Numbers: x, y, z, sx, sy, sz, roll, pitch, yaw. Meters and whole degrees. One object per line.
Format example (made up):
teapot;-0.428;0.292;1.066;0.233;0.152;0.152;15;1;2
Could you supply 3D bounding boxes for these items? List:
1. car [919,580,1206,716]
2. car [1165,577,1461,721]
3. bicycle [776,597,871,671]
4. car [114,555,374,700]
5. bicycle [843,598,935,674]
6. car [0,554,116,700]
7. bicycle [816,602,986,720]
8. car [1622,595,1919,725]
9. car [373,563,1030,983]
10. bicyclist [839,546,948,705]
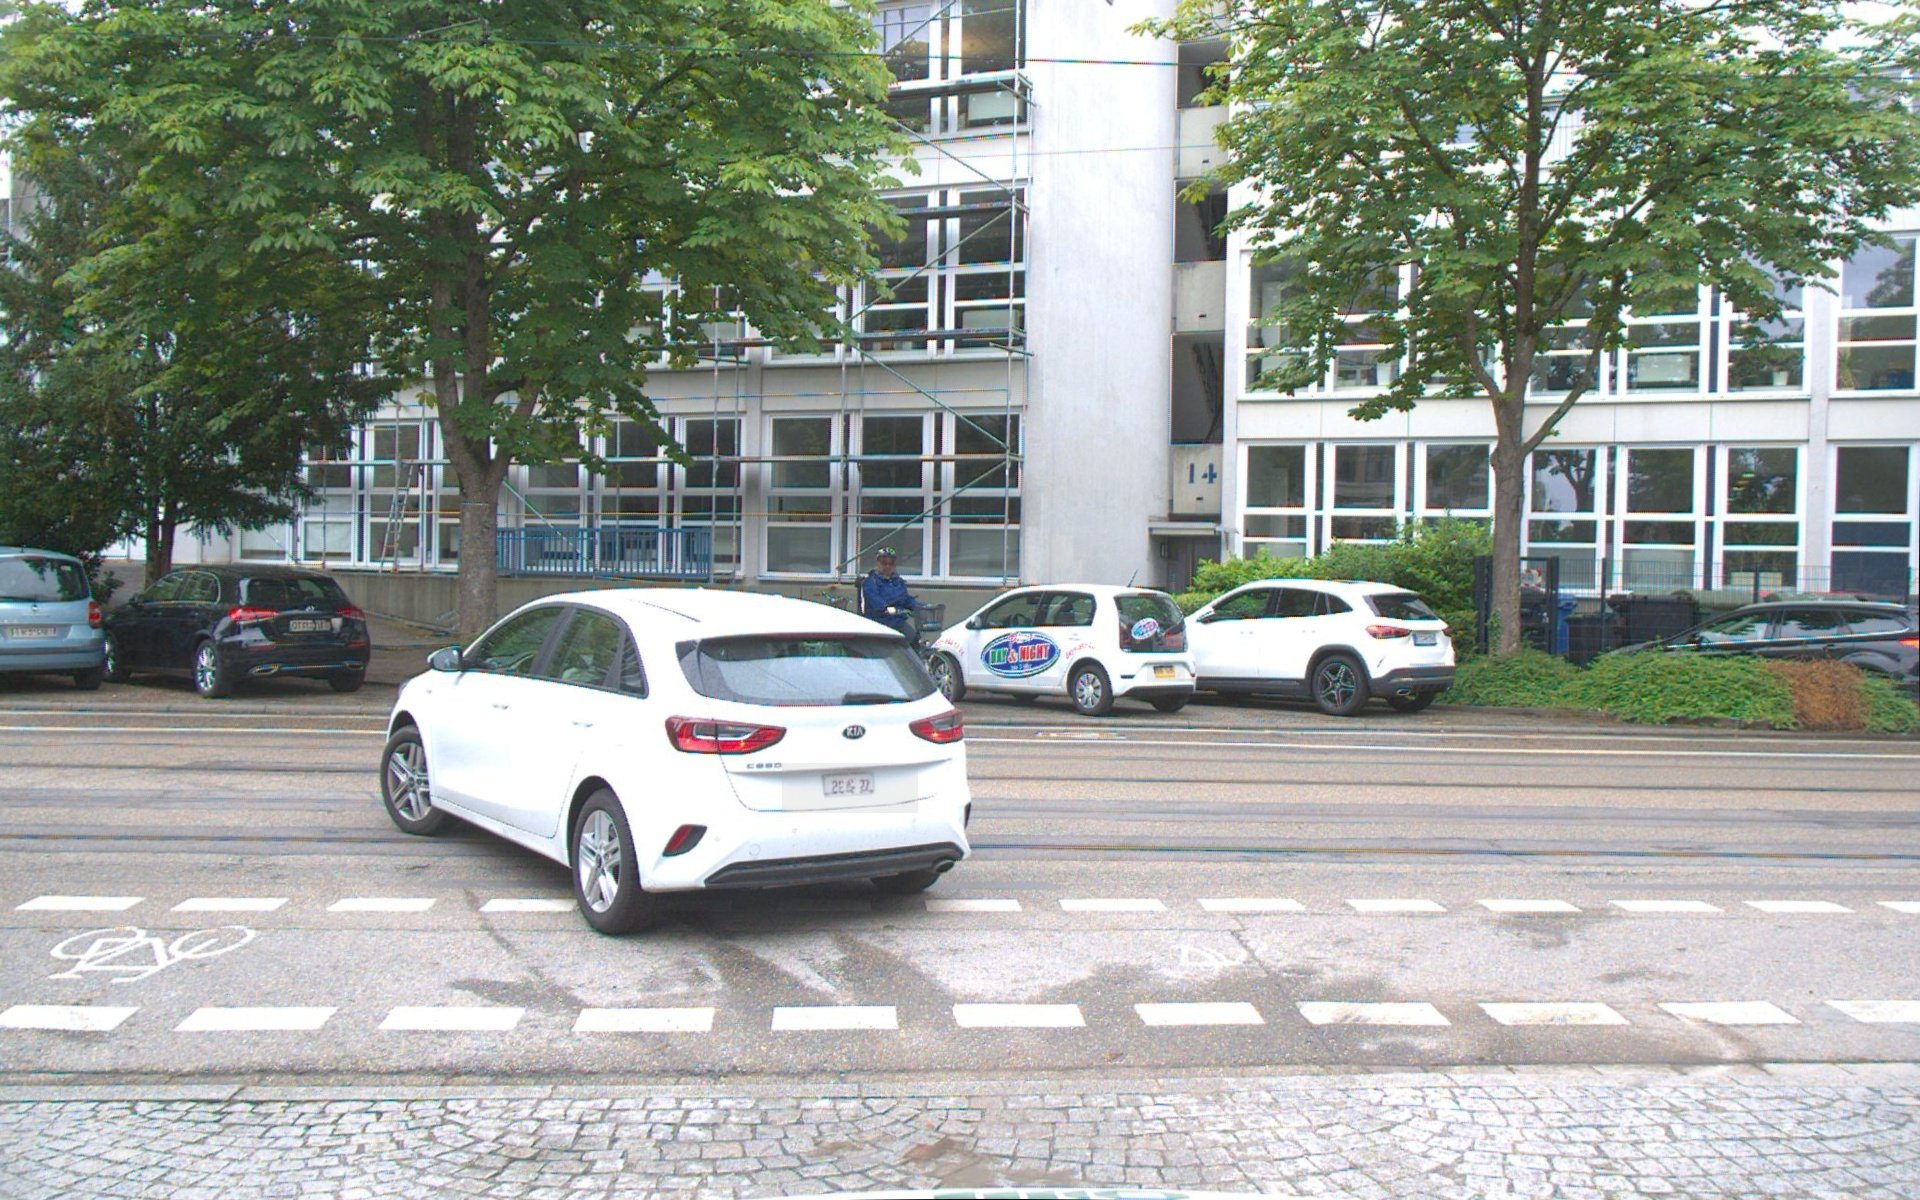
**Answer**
car;1.197;0.518;20.181;1.545;1.499;3.352;0;1;-44
car;4.354;0.539;20.659;1.545;1.646;3.352;0;1;-44
bicycle;-2.152;0.513;26.452;0.631;1.093;2.313;1;1;19
car;-8.377;0.268;19.263;3.278;1.537;1.609;1;1;43
bicycle;-1.088;0.538;25.921;0.631;1.093;2.313;1;1;19
car;-11.257;0.257;19.159;3.278;1.564;1.609;1;1;43
bicycle;-0.675;0.647;18.454;1.883;1.194;0.816;2;1;44
car;10.747;0.712;21.232;3.880;1.499;1.665;1;1;40
car;-1.551;0.634;8.579;1.762;1.457;3.928;-2;4;-36
bicyclist;-0.743;0.267;18.521;0.882;1.727;0.828;2;1;44
